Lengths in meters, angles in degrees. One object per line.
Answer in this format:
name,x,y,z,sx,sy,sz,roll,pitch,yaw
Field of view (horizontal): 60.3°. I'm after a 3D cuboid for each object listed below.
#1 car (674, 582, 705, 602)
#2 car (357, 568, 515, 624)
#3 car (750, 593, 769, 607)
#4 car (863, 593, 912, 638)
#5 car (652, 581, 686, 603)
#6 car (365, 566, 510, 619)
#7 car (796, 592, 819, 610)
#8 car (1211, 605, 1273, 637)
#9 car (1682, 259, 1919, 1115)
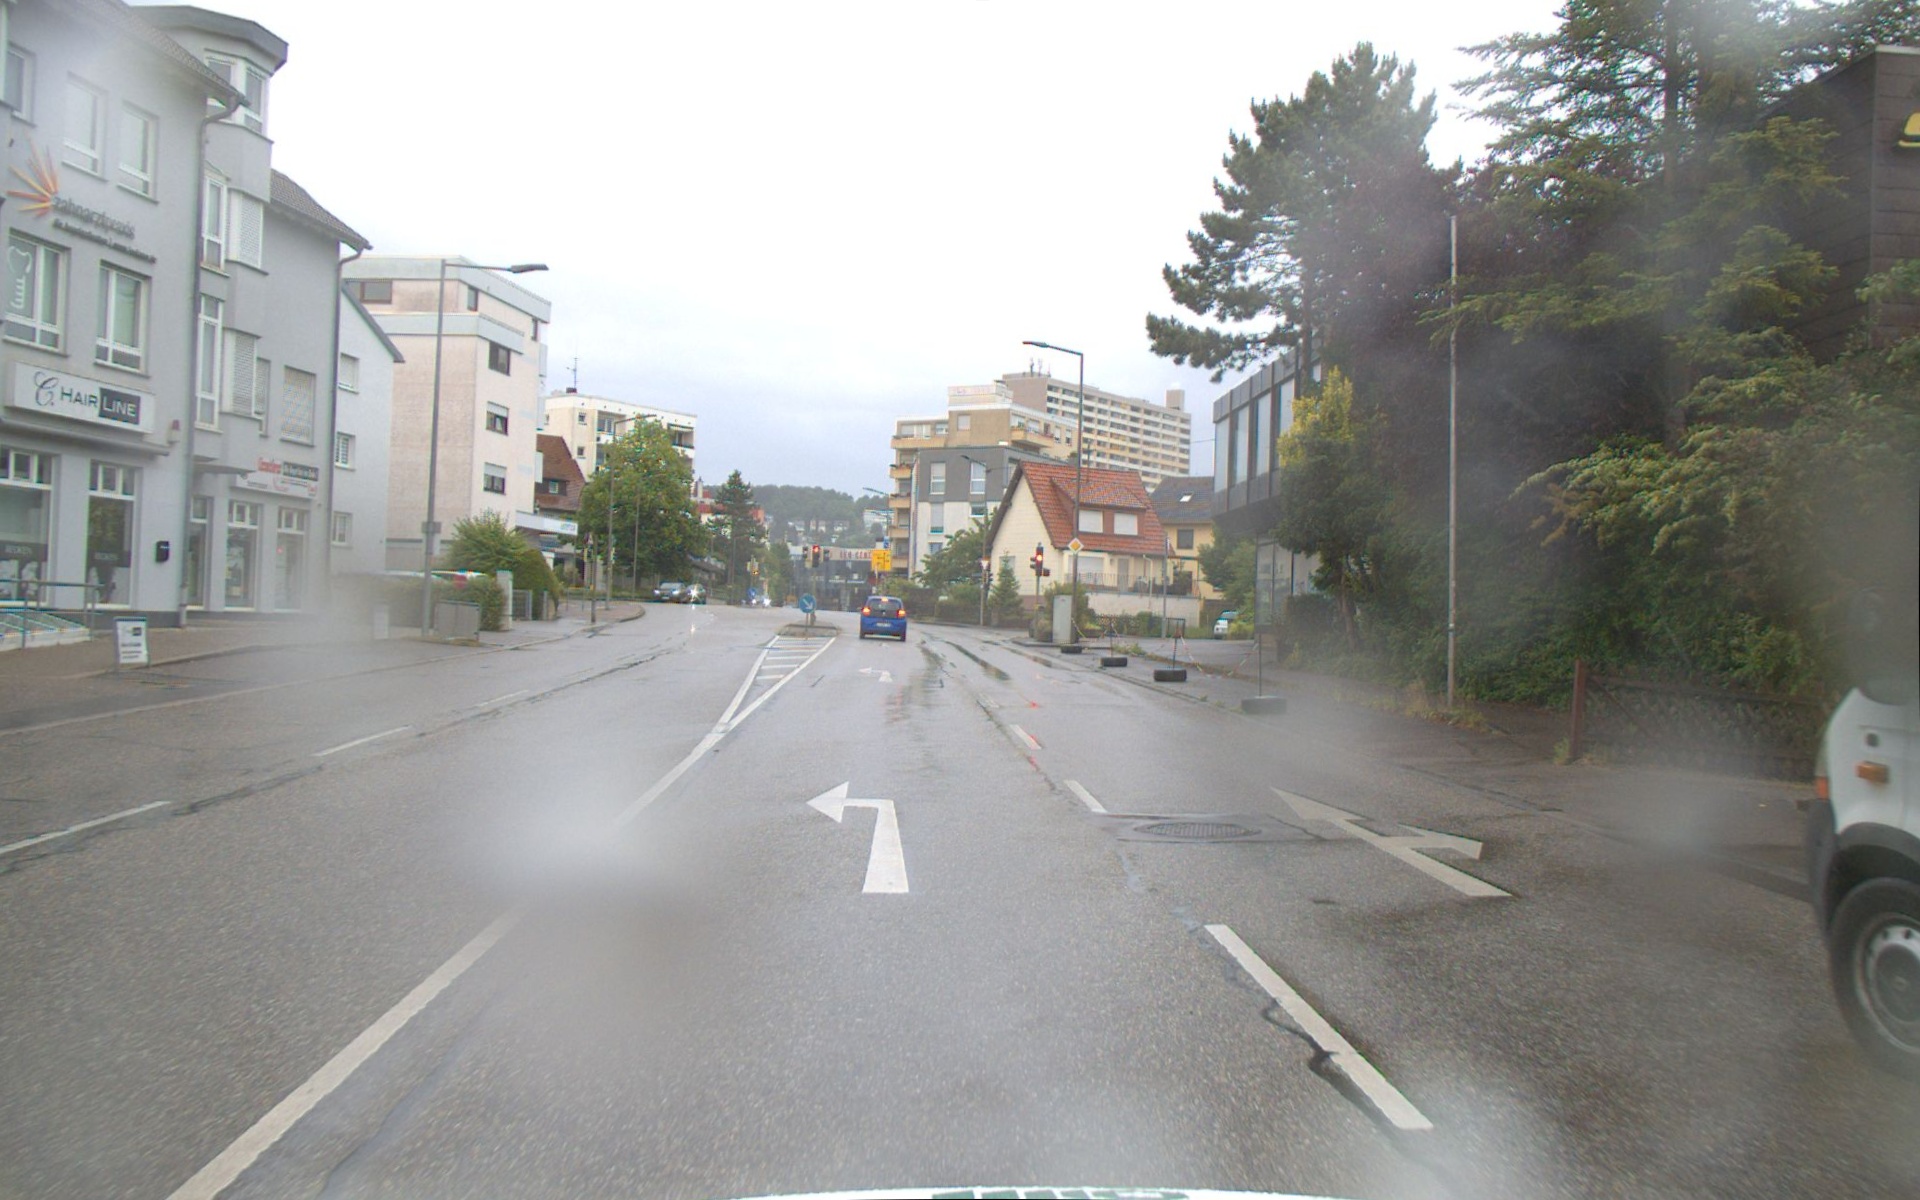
car,-19.763,-0.575,120.995,1.681,1.411,4.018,3,0,-3
car,-15.915,-0.123,50.343,4.131,1.499,1.905,2,0,3
car,-21.926,-0.049,181.211,1.743,1.445,3.828,3,0,-3
car,-2.489,0.523,56.768,1.547,1.435,3.268,3,0,-2
car,-20.016,-0.547,113.855,1.743,1.445,3.828,3,0,-3
car,-18.228,-0.255,57.774,4.356,1.665,1.940,2,0,7
car,-13.733,0.071,149.477,1.776,1.512,4.187,2,0,-2
car,14.853,1.111,87.041,1.709,1.541,3.987,2,0,34
car,4.043,0.266,3.037,2.343,2.474,6.429,1,0,-3
